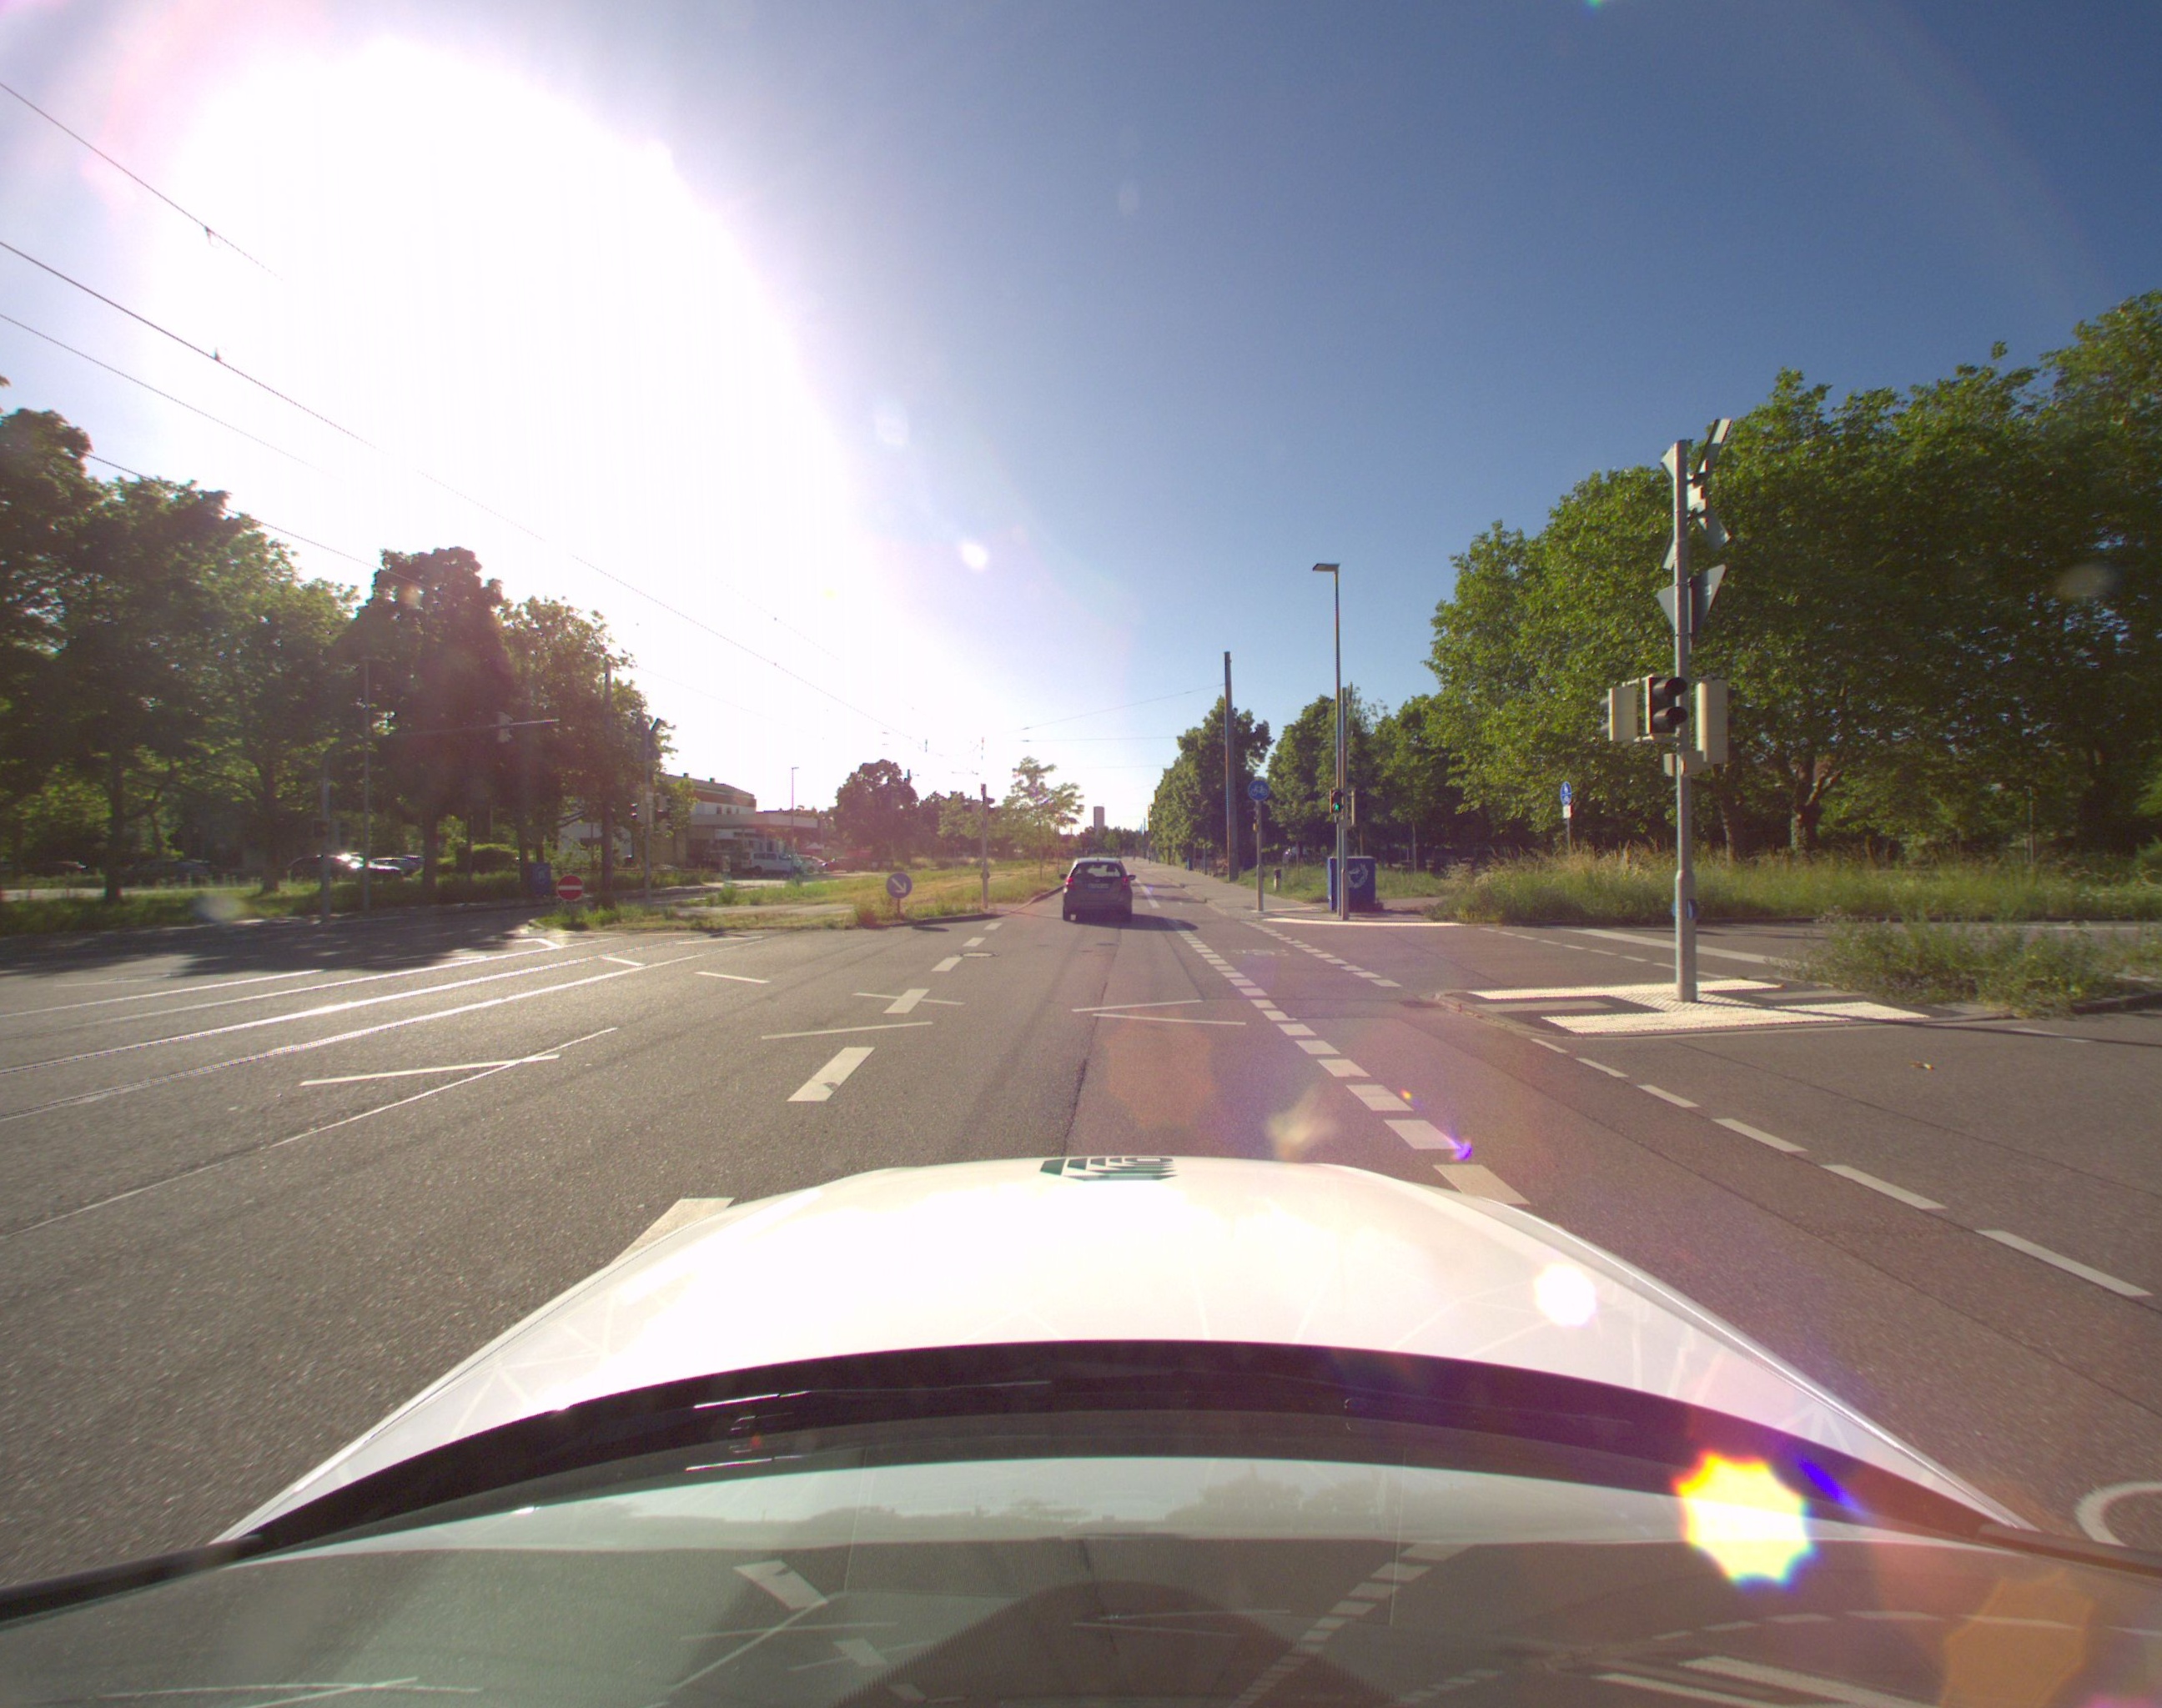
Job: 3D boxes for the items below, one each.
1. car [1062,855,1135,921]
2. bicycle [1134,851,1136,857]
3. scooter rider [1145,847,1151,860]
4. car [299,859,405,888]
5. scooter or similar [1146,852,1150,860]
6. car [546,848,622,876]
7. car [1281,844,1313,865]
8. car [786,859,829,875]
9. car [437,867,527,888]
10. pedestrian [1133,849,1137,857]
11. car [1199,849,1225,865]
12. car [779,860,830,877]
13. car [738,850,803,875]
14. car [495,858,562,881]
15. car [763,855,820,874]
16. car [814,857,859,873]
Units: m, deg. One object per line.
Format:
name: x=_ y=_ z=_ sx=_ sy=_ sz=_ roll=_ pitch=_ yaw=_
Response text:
car: x=0.518 y=0.791 z=20.627 sx=1.617 sy=1.500 sz=3.461 roll=1 pitch=0 yaw=4
bicycle: x=12.119 y=0.012 z=182.811 sx=0.510 sy=1.241 sz=3.091 roll=-1 pitch=0 yaw=2
scooter rider: x=9.828 y=-0.080 z=119.754 sx=0.713 sy=1.901 sz=0.935 roll=-1 pitch=-1 yaw=1
car: x=-38.151 y=1.015 z=42.702 sx=3.955 sy=1.432 sz=1.665 roll=-1 pitch=0 yaw=-2
scooter or similar: x=9.893 y=0.299 z=119.886 sx=0.537 sy=1.118 sz=1.417 roll=-1 pitch=0 yaw=1
car: x=-39.153 y=0.623 z=64.243 sx=4.704 sy=2.091 sz=2.021 roll=-1 pitch=0 yaw=1
car: x=19.997 y=0.048 z=75.722 sx=1.864 sy=1.966 sz=5.170 roll=0 pitch=0 yaw=3
car: x=-29.453 y=1.386 z=87.764 sx=4.057 sy=1.568 sz=1.792 roll=-1 pitch=0 yaw=0
car: x=-34.757 y=1.341 z=47.332 sx=3.954 sy=1.167 sz=1.665 roll=0 pitch=0 yaw=-2
pedestrian: x=12.124 y=-0.284 z=182.733 sx=0.719 sy=1.800 sz=1.165 roll=-1 pitch=0 yaw=2
car: x=12.208 y=0.253 z=76.261 sx=1.768 sy=1.386 sz=3.869 roll=-2 pitch=0 yaw=0
car: x=-26.162 y=1.385 z=77.203 sx=1.769 sy=1.471 sz=4.500 roll=-1 pitch=0 yaw=33
car: x=-26.127 y=0.674 z=68.623 sx=1.837 sy=1.974 sz=4.816 roll=-1 pitch=0 yaw=41
car: x=-38.518 y=1.060 z=56.941 sx=1.569 sy=1.544 sz=4.096 roll=0 pitch=0 yaw=6
car: x=-25.933 y=0.916 z=73.076 sx=1.769 sy=1.528 sz=4.499 roll=-1 pitch=0 yaw=41
car: x=-25.525 y=1.100 z=85.158 sx=4.057 sy=1.568 sz=1.792 roll=-1 pitch=0 yaw=0
